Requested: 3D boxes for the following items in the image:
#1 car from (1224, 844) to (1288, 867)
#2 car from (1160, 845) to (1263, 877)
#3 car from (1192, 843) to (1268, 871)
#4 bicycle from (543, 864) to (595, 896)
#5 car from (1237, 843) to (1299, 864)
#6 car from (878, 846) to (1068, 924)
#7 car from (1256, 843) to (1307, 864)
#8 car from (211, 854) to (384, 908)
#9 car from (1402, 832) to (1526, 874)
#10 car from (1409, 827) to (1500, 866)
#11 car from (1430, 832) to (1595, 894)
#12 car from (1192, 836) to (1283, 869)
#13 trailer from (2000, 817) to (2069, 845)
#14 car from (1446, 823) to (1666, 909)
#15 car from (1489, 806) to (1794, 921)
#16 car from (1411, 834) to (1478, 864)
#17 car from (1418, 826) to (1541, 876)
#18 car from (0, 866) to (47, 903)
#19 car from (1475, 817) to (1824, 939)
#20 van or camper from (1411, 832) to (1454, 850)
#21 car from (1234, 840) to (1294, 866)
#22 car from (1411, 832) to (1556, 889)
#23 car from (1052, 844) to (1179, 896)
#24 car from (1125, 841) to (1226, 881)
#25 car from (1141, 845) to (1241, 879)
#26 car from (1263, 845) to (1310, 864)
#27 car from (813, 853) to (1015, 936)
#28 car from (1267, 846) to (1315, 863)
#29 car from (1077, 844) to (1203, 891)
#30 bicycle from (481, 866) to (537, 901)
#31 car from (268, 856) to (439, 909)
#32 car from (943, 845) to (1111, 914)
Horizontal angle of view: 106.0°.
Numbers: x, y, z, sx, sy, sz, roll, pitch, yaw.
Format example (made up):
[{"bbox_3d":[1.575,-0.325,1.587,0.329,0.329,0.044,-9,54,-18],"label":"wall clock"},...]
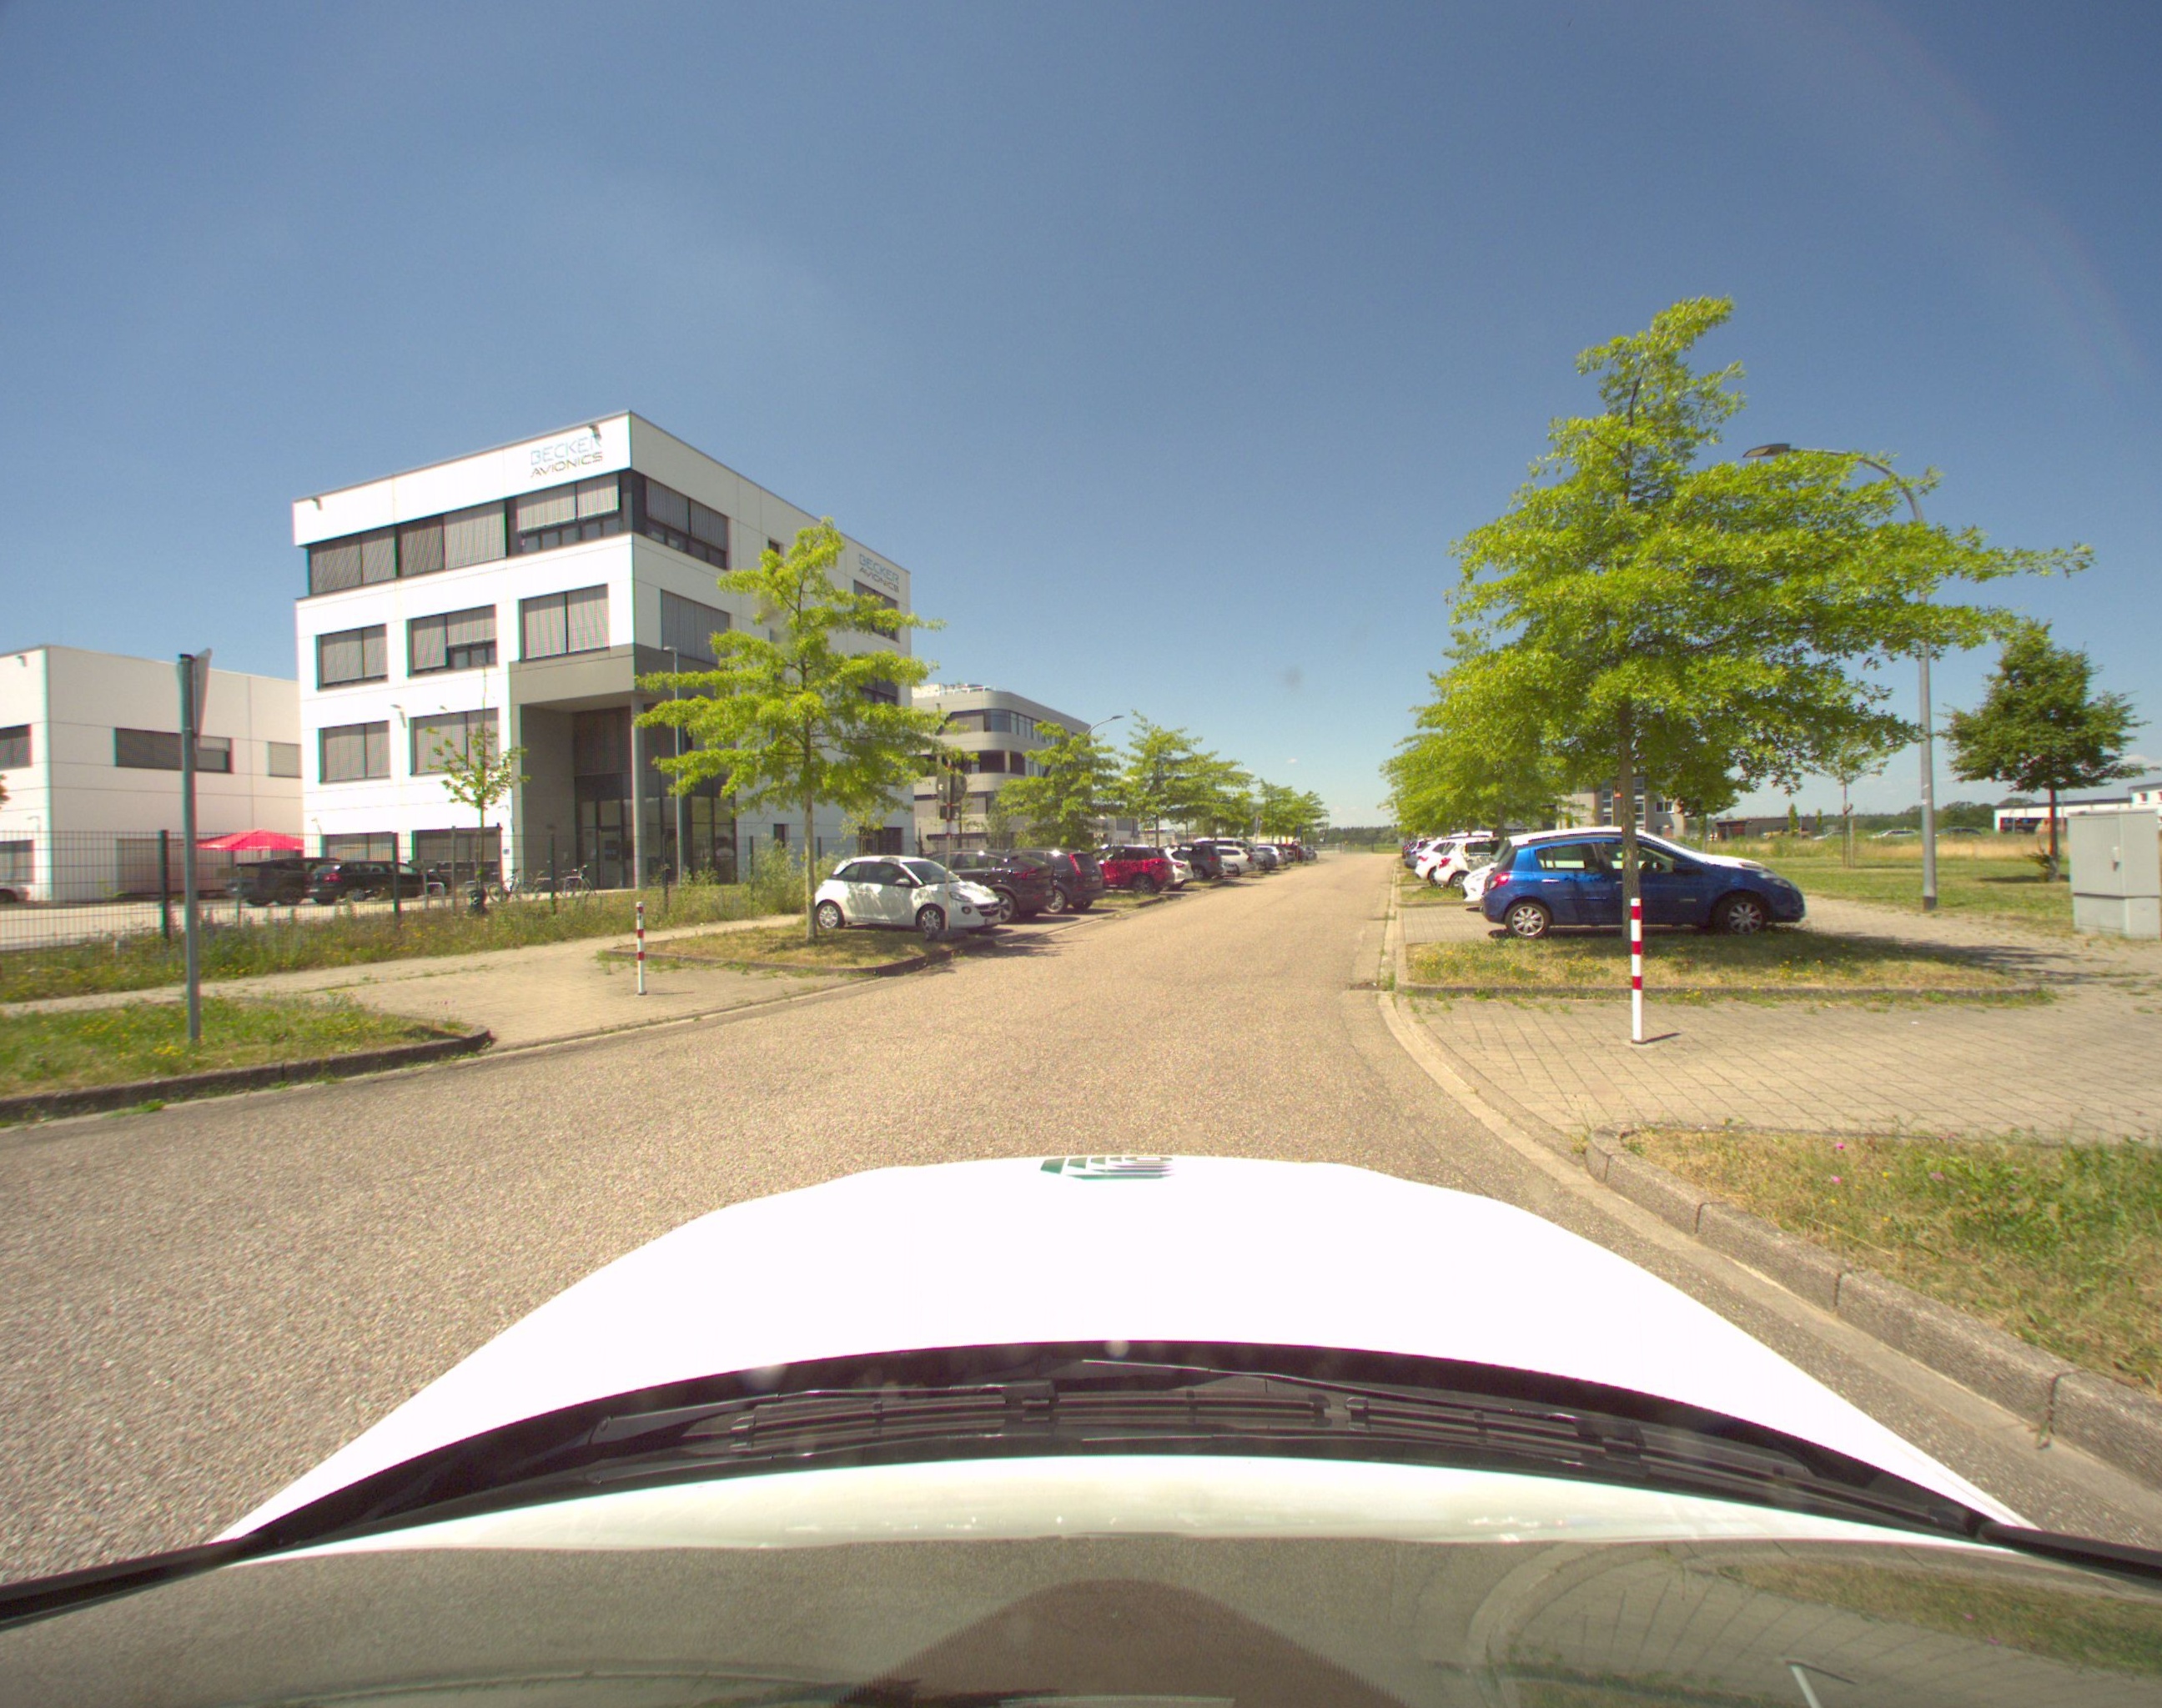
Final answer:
[{"bbox_3d":[11.672,0.081,54.360,4.005,1.460,1.612,1,1,18],"label":"car"},{"bbox_3d":[6.345,0.305,39.608,4.675,1.447,1.866,0,1,18],"label":"car"},{"bbox_3d":[8.411,0.126,46.002,3.935,1.484,1.773,1,1,21],"label":"car"},{"bbox_3d":[-16.086,0.820,25.590,1.578,0.982,0.464,-2,0,19],"label":"bicycle"},{"bbox_3d":[13.583,-0.032,59.082,4.157,1.480,1.722,1,1,21],"label":"car"},{"bbox_3d":[-2.396,0.630,18.391,3.808,1.593,1.838,0,1,18],"label":"car"},{"bbox_3d":[15.999,-0.057,65.004,3.705,1.621,1.826,0,1,22],"label":"car"},{"bbox_3d":[-27.756,0.913,29.028,1.761,1.684,4.020,-2,0,20],"label":"car"},{"bbox_3d":[16.791,-0.033,35.997,4.679,1.561,1.922,-3,-1,17],"label":"car"},{"bbox_3d":[20.440,-0.403,44.721,4.364,1.830,1.805,-3,-1,22],"label":"car"},{"bbox_3d":[11.780,0.249,22.519,3.801,1.524,1.789,-2,0,21],"label":"car"},{"bbox_3d":[9.379,-0.077,48.787,5.025,1.891,2.008,0,1,22],"label":"car"},{"bbox_3d":[97.213,-2.331,83.117,3.954,2.600,2.244,-2,0,20],"label":"trailer"},{"bbox_3d":[9.722,0.249,16.960,3.590,1.463,1.618,-4,0,16],"label":"car"},{"bbox_3d":[9.478,0.196,14.225,4.071,1.650,1.785,-4,0,26],"label":"car"},{"bbox_3d":[23.488,-0.325,52.792,3.842,1.678,1.792,-3,-1,21],"label":"car"},{"bbox_3d":[15.049,-0.096,30.982,4.011,1.625,1.702,-3,-1,21],"label":"car"},{"bbox_3d":[-41.794,1.208,29.913,1.761,1.339,4.360,-2,0,20],"label":"car"},{"bbox_3d":[8.164,0.377,12.186,3.959,1.490,1.738,-4,0,25],"label":"car"},{"bbox_3d":[45.475,-1.630,105.512,4.894,2.163,2.010,-1,0,20],"label":"van or camper"},{"bbox_3d":[12.739,-0.078,56.546,3.957,1.678,1.785,1,1,16],"label":"car"},{"bbox_3d":[12.282,0.201,24.979,3.799,1.553,1.790,-2,1,26],"label":"car"},{"bbox_3d":[1.160,0.468,26.726,3.807,1.591,1.736,0,1,19],"label":"car"},{"bbox_3d":[4.121,0.273,35.444,4.083,1.634,1.736,0,1,20],"label":"car"},{"bbox_3d":[5.036,0.320,37.381,4.276,1.473,1.736,0,1,19],"label":"car"},{"bbox_3d":[17.033,0.048,67.424,3.628,1.508,1.739,0,1,17],"label":"car"},{"bbox_3d":[-3.258,0.722,16.007,3.475,1.441,1.736,0,1,20],"label":"car"},{"bbox_3d":[19.069,0.037,73.896,4.043,1.424,1.882,0,0,17],"label":"car"},{"bbox_3d":[2.118,0.442,29.267,4.136,1.513,1.817,1,2,22],"label":"car"},{"bbox_3d":[-16.723,0.867,23.805,1.578,0.982,0.464,-2,0,19],"label":"bicycle"},{"bbox_3d":[-25.054,0.933,28.247,1.761,1.602,4.020,-2,0,20],"label":"car"},{"bbox_3d":[-1.348,0.584,20.624,3.873,1.591,1.736,0,1,20],"label":"car"}]
